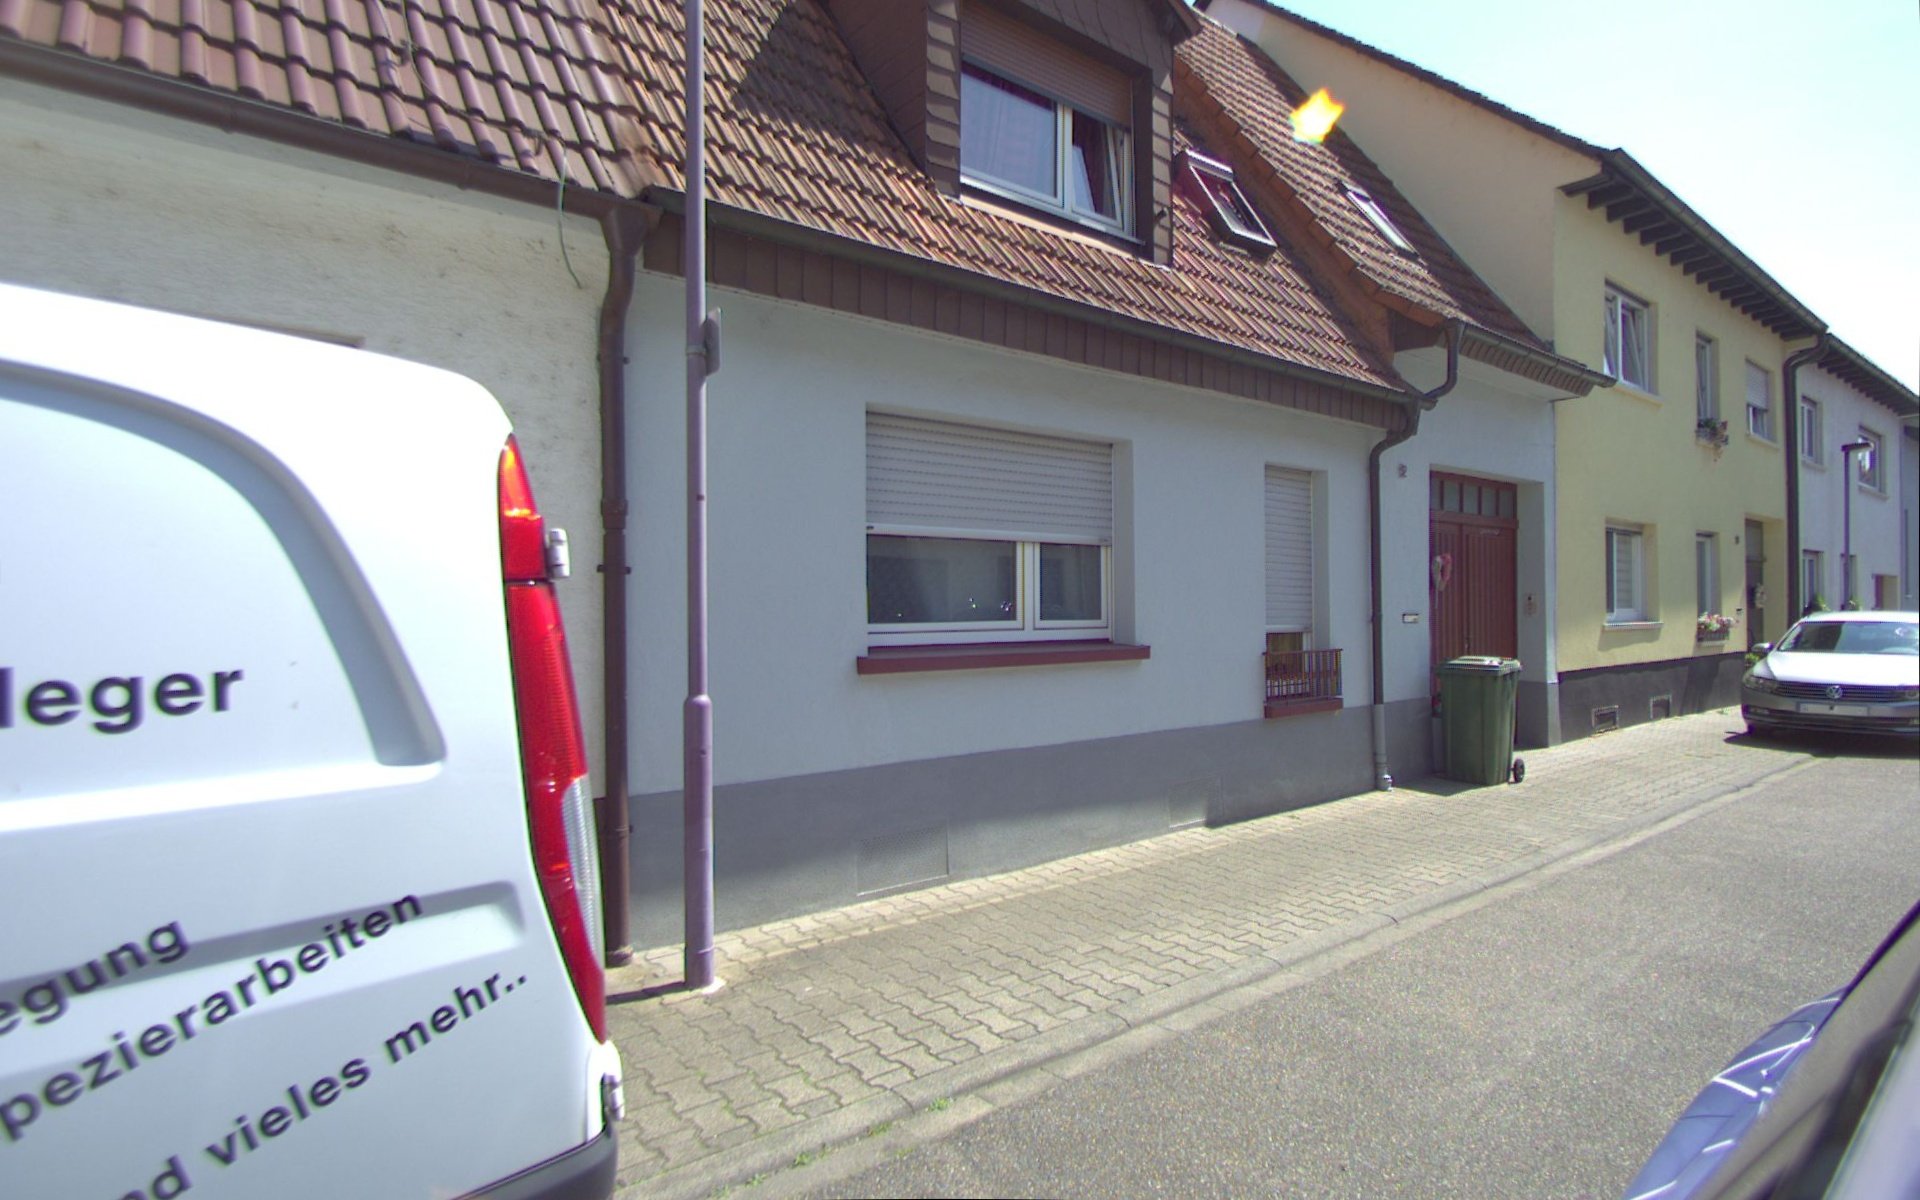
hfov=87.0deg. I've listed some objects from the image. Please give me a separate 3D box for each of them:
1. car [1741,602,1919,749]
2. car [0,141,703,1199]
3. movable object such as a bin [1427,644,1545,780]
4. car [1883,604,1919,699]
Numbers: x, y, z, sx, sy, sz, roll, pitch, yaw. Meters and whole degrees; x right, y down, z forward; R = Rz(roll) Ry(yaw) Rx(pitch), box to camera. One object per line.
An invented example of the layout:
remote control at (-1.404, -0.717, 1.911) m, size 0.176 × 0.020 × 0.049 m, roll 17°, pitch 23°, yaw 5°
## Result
car at (11.116, 0.771, 12.093) m, size 4.691 × 1.467 × 1.841 m, roll 0°, pitch -1°, yaw -40°
car at (-2.983, 0.529, 0.538) m, size 5.170 × 1.862 × 2.017 m, roll 0°, pitch -1°, yaw -39°
movable object such as a bin at (4.623, 0.946, 8.892) m, size 0.798 × 1.085 × 0.659 m, roll 0°, pitch -1°, yaw -40°
car at (16.677, 0.791, 16.623) m, size 4.030 × 1.454 × 1.699 m, roll 0°, pitch -1°, yaw -40°
